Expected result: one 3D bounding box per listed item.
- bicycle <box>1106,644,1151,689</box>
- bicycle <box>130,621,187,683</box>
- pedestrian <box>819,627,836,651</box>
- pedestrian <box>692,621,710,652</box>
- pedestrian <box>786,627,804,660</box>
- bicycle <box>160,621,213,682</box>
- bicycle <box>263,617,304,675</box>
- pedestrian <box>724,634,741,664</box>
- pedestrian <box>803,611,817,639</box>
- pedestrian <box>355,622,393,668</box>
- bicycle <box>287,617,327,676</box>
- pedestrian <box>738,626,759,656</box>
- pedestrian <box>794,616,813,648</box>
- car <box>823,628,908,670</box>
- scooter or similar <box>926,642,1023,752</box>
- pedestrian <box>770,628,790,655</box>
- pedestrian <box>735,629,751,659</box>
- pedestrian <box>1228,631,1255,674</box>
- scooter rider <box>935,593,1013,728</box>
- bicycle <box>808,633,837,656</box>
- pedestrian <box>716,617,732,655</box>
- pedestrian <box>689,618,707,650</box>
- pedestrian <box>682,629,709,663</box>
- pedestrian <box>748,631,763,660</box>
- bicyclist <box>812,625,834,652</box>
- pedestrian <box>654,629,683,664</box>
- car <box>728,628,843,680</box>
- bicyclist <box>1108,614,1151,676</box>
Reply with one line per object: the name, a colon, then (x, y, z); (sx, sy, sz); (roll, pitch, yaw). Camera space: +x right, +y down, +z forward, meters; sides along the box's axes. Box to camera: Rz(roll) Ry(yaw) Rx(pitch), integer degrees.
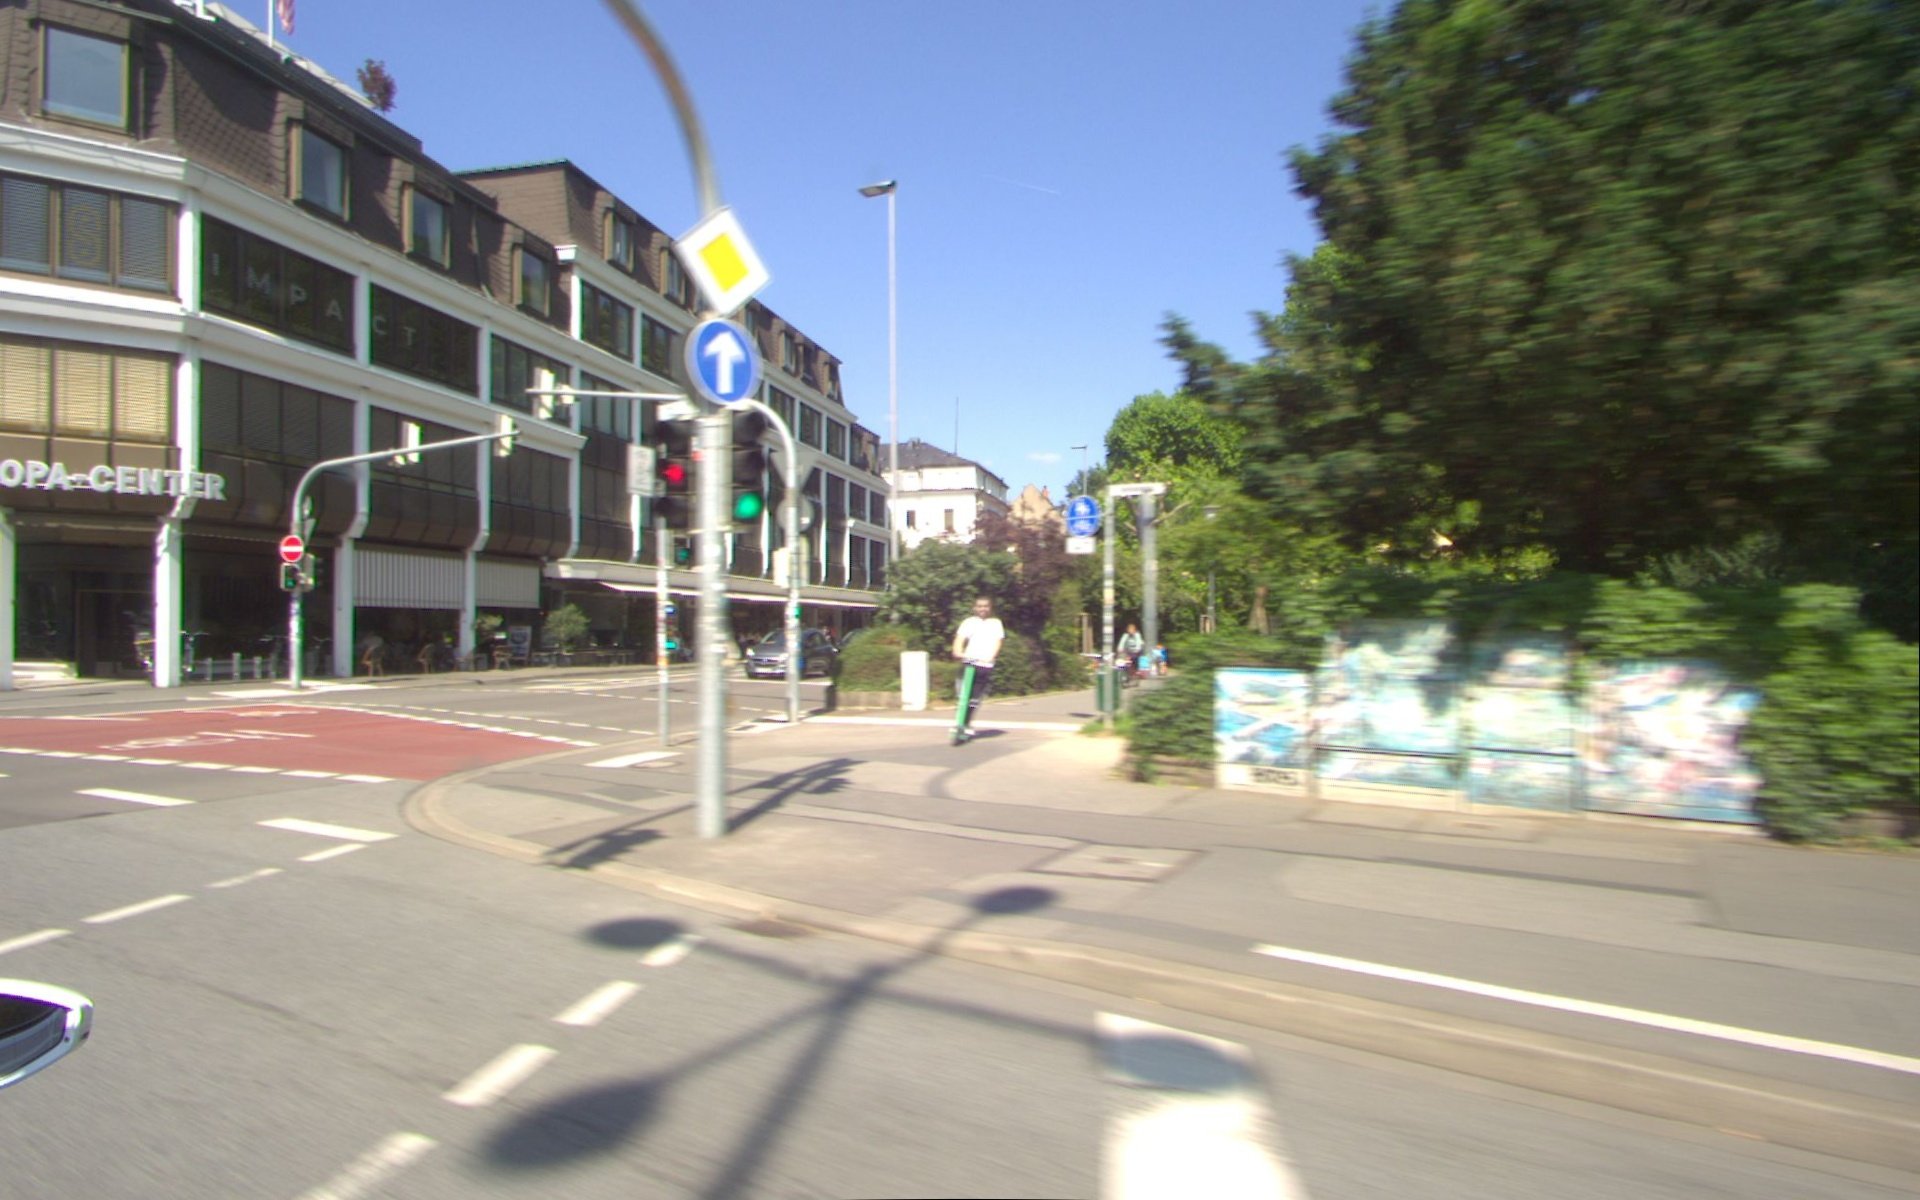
bicycle: (4.474, 1.754, 26.496); (0.771, 1.134, 1.673); (-1, -3, 25)
bicycle: (-18.519, 1.177, 23.160); (0.522, 1.334, 1.960); (1, 0, -24)
pedestrian: (-7.825, 2.285, 59.043); (0.744, 1.411, 0.716); (0, -1, 14)
pedestrian: (-11.802, 1.678, 45.679); (0.562, 1.411, 0.569); (0, -1, 14)
pedestrian: (-8.299, 2.185, 50.333); (0.605, 1.633, 0.873); (0, -1, 14)
bicycle: (-18.071, 1.175, 23.428); (0.522, 1.334, 1.852); (1, 0, -24)
bicycle: (-17.650, 1.177, 26.158); (0.522, 1.441, 1.960); (1, 0, -24)
pedestrian: (-10.892, 2.350, 47.986); (0.562, 1.411, 0.569); (0, -1, 14)
pedestrian: (-8.869, 1.492, 59.288); (0.610, 1.667, 0.716); (0, -1, 14)
pedestrian: (-17.838, 1.361, 30.498); (0.815, 1.352, 0.969); (1, -1, -22)
bicycle: (-16.949, 1.186, 26.014); (0.522, 1.441, 1.960); (1, 0, -24)
pedestrian: (-10.144, 1.965, 48.003); (0.744, 1.411, 0.716); (0, -1, 14)
pedestrian: (-8.642, 1.745, 55.327); (0.744, 1.751, 0.797); (0, -1, 14)
car: (-3.366, 1.724, 36.460); (1.825, 1.381, 4.094); (1, -1, 14)
scooter or similar: (0.223, 1.227, 13.163); (0.806, 1.315, 1.694); (-1, -1, 17)
pedestrian: (-9.239, 2.123, 51.376); (0.744, 1.411, 0.716); (0, -1, 14)
pedestrian: (-10.550, 2.139, 48.738); (0.562, 1.411, 0.569); (0, -1, 14)
pedestrian: (8.554, 1.585, 30.424); (0.704, 1.286, 0.452); (0, -1, 26)
scooter rider: (0.192, 0.770, 13.001); (0.809, 1.693, 0.708); (-1, -1, 19)
bicycle: (-6.990, 2.269, 51.081); (0.750, 1.135, 2.121); (-1, -1, 13)
pedestrian: (-11.202, 1.693, 47.471); (0.576, 1.780, 0.485); (0, -1, 14)
pedestrian: (-11.870, 1.547, 45.338); (0.562, 1.411, 0.569); (0, -1, 14)
pedestrian: (-11.345, 1.961, 42.927); (0.744, 1.411, 0.928); (0, -1, 14)
pedestrian: (-9.915, 2.199, 48.526); (0.534, 1.411, 0.554); (0, -1, 14)
bicyclist: (-6.988, 1.965, 51.109); (0.767, 1.325, 0.943); (-1, -1, 13)
pedestrian: (-11.944, 1.905, 41.020); (0.744, 1.411, 0.928); (0, -1, 14)
car: (-5.086, 1.555, 29.800); (1.825, 1.381, 4.094); (1, -1, 15)
bicyclist: (4.477, 1.187, 26.413); (0.854, 1.595, 0.940); (-1, -1, 27)
